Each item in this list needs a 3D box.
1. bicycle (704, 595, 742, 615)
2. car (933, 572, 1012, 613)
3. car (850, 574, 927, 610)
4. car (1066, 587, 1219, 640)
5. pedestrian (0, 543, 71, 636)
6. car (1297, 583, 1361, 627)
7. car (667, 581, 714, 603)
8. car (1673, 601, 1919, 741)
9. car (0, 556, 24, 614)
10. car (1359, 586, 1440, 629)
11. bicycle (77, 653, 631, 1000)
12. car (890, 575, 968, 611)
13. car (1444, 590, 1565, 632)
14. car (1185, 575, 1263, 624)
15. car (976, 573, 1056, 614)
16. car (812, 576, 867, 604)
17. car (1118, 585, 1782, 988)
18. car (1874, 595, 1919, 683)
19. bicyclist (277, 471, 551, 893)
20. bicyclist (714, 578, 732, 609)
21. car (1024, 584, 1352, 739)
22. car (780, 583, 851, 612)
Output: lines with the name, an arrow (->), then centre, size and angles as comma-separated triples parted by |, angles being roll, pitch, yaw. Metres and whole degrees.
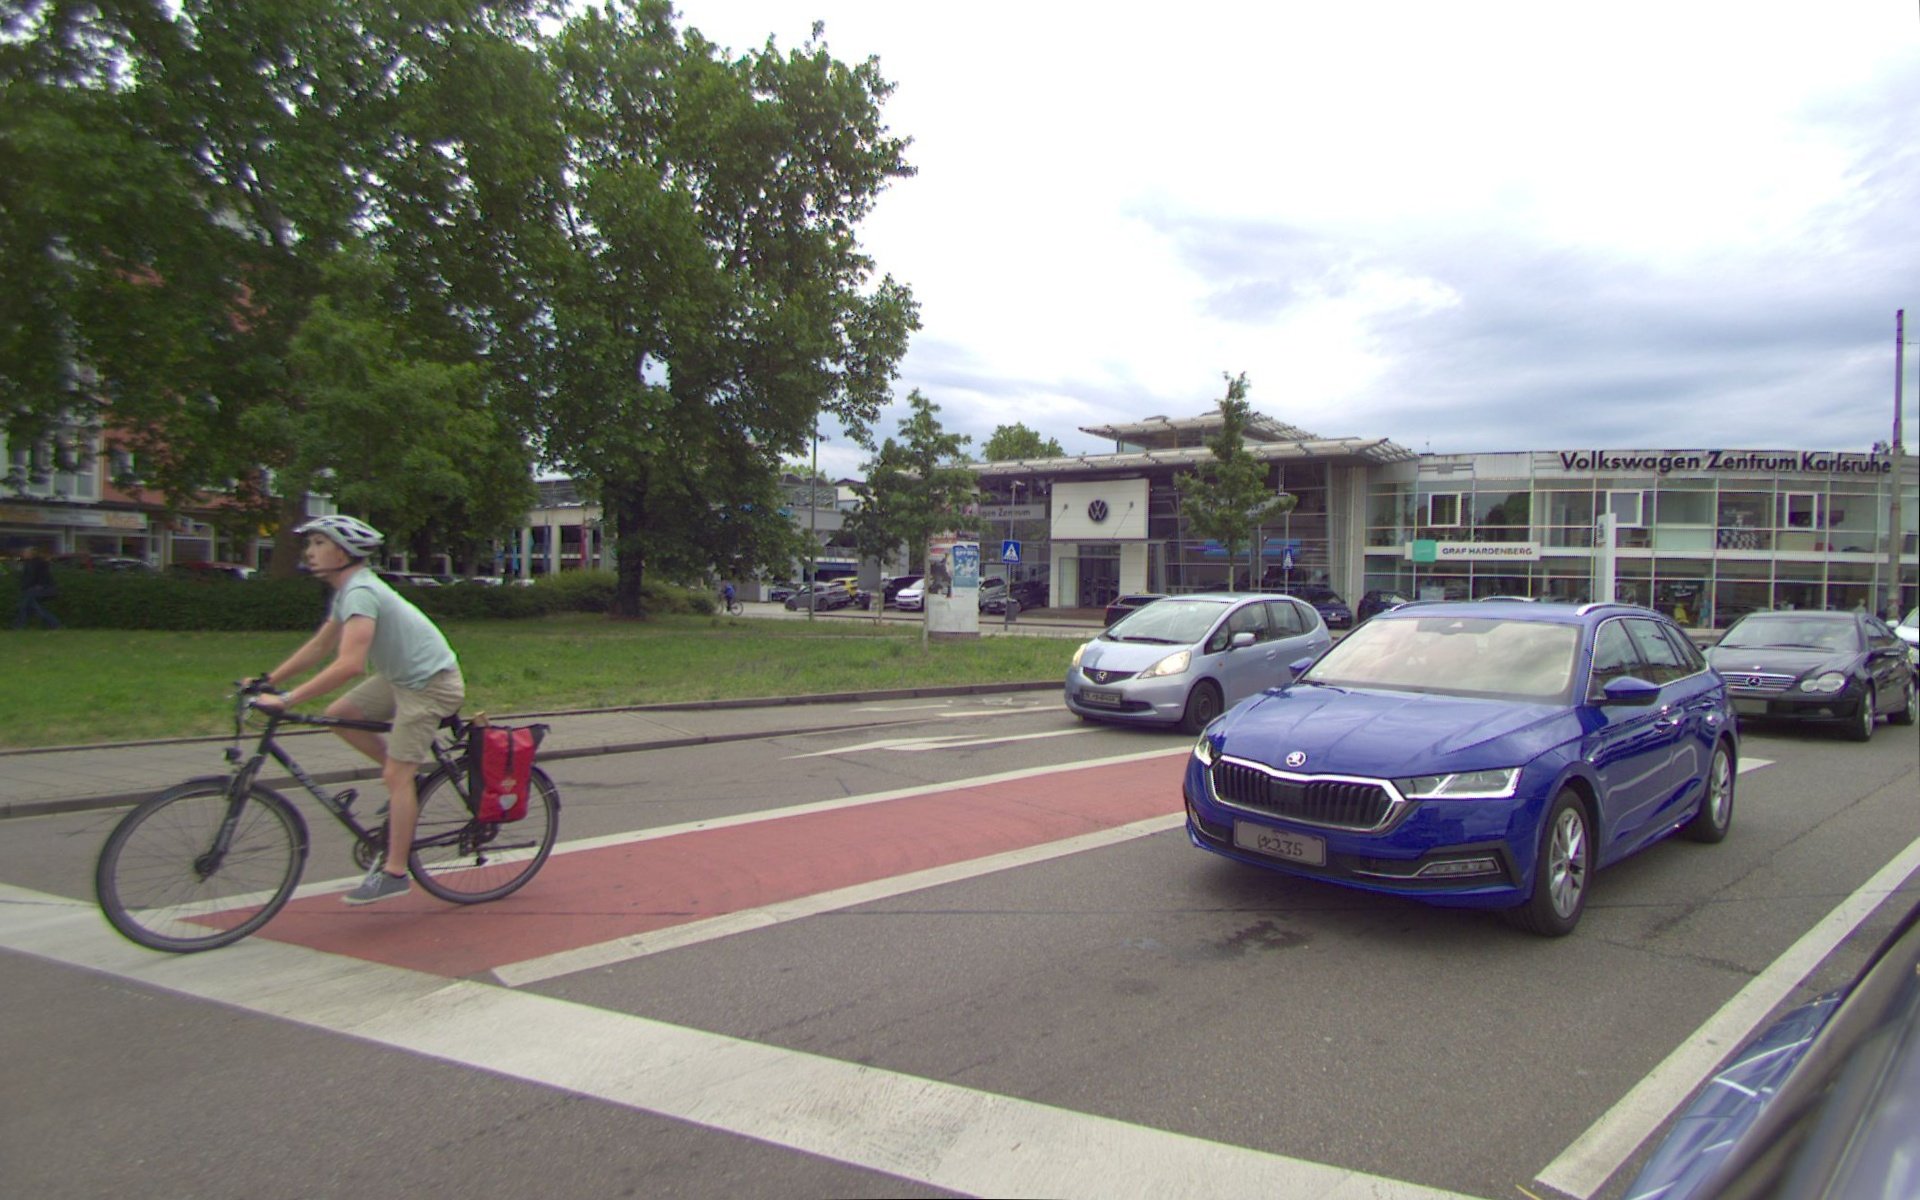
bicycle -> -11.740, 0.233, 50.138 | 1.766, 0.923, 0.559 | 2, 1, 18
car -> 0.698, -0.446, 52.532 | 1.947, 1.615, 4.177 | 2, 8, 38
car -> -3.897, -0.494, 55.697 | 1.947, 1.529, 4.177 | 2, 7, 38
car -> 6.185, 0.412, 34.666 | 4.858, 1.562, 1.865 | 3, 2, 38
pedestrian -> -19.004, -0.231, 20.740 | 0.858, 1.841, 0.890 | 2, 1, 26
car -> 14.857, 0.162, 40.952 | 1.928, 1.544, 4.214 | 1, 3, 13
car -> -18.182, -0.565, 68.169 | 1.927, 1.358, 3.680 | 0, 2, -36
car -> 10.424, 0.722, 12.328 | 4.343, 1.387, 1.769 | 0, 0, -40
car -> -31.069, -0.483, 30.692 | 3.935, 1.745, 1.995 | 1, 1, 10
car -> 17.440, 0.244, 40.337 | 1.760, 1.580, 4.028 | 1, 1, 6
bicycle -> -2.558, 0.832, 4.448 | 1.982, 1.092, 0.762 | 0, 0, -42
car -> -1.641, -0.421, 54.175 | 1.947, 1.483, 4.176 | 2, 7, 38
car -> 21.160, 0.382, 39.393 | 3.891, 1.459, 1.707 | 2, 1, 41
car -> 11.445, -0.088, 43.665 | 1.943, 1.662, 4.625 | 2, 6, 32
car -> 2.836, -0.394, 50.688 | 1.947, 1.472, 4.178 | 2, 9, 38
car -> -7.102, -0.609, 59.538 | 3.107, 1.530, 1.422 | 2, 5, 39
car -> 3.125, 0.670, 5.871 | 4.673, 1.454, 1.768 | 0, 0, -41
car -> 19.081, 0.710, 19.084 | 4.068, 1.579, 1.983 | 0, -1, -37
bicyclist -> -2.445, 0.315, 4.535 | 0.917, 1.638, 0.790 | 0, 0, -42
bicyclist -> -11.727, -0.318, 50.128 | 0.686, 1.515, 0.552 | 1, 1, 19
car -> 2.721, 0.589, 11.671 | 3.863, 1.502, 1.708 | 0, 0, -40
car -> -8.260, -0.182, 57.523 | 4.129, 1.531, 1.632 | 2, 1, 39
